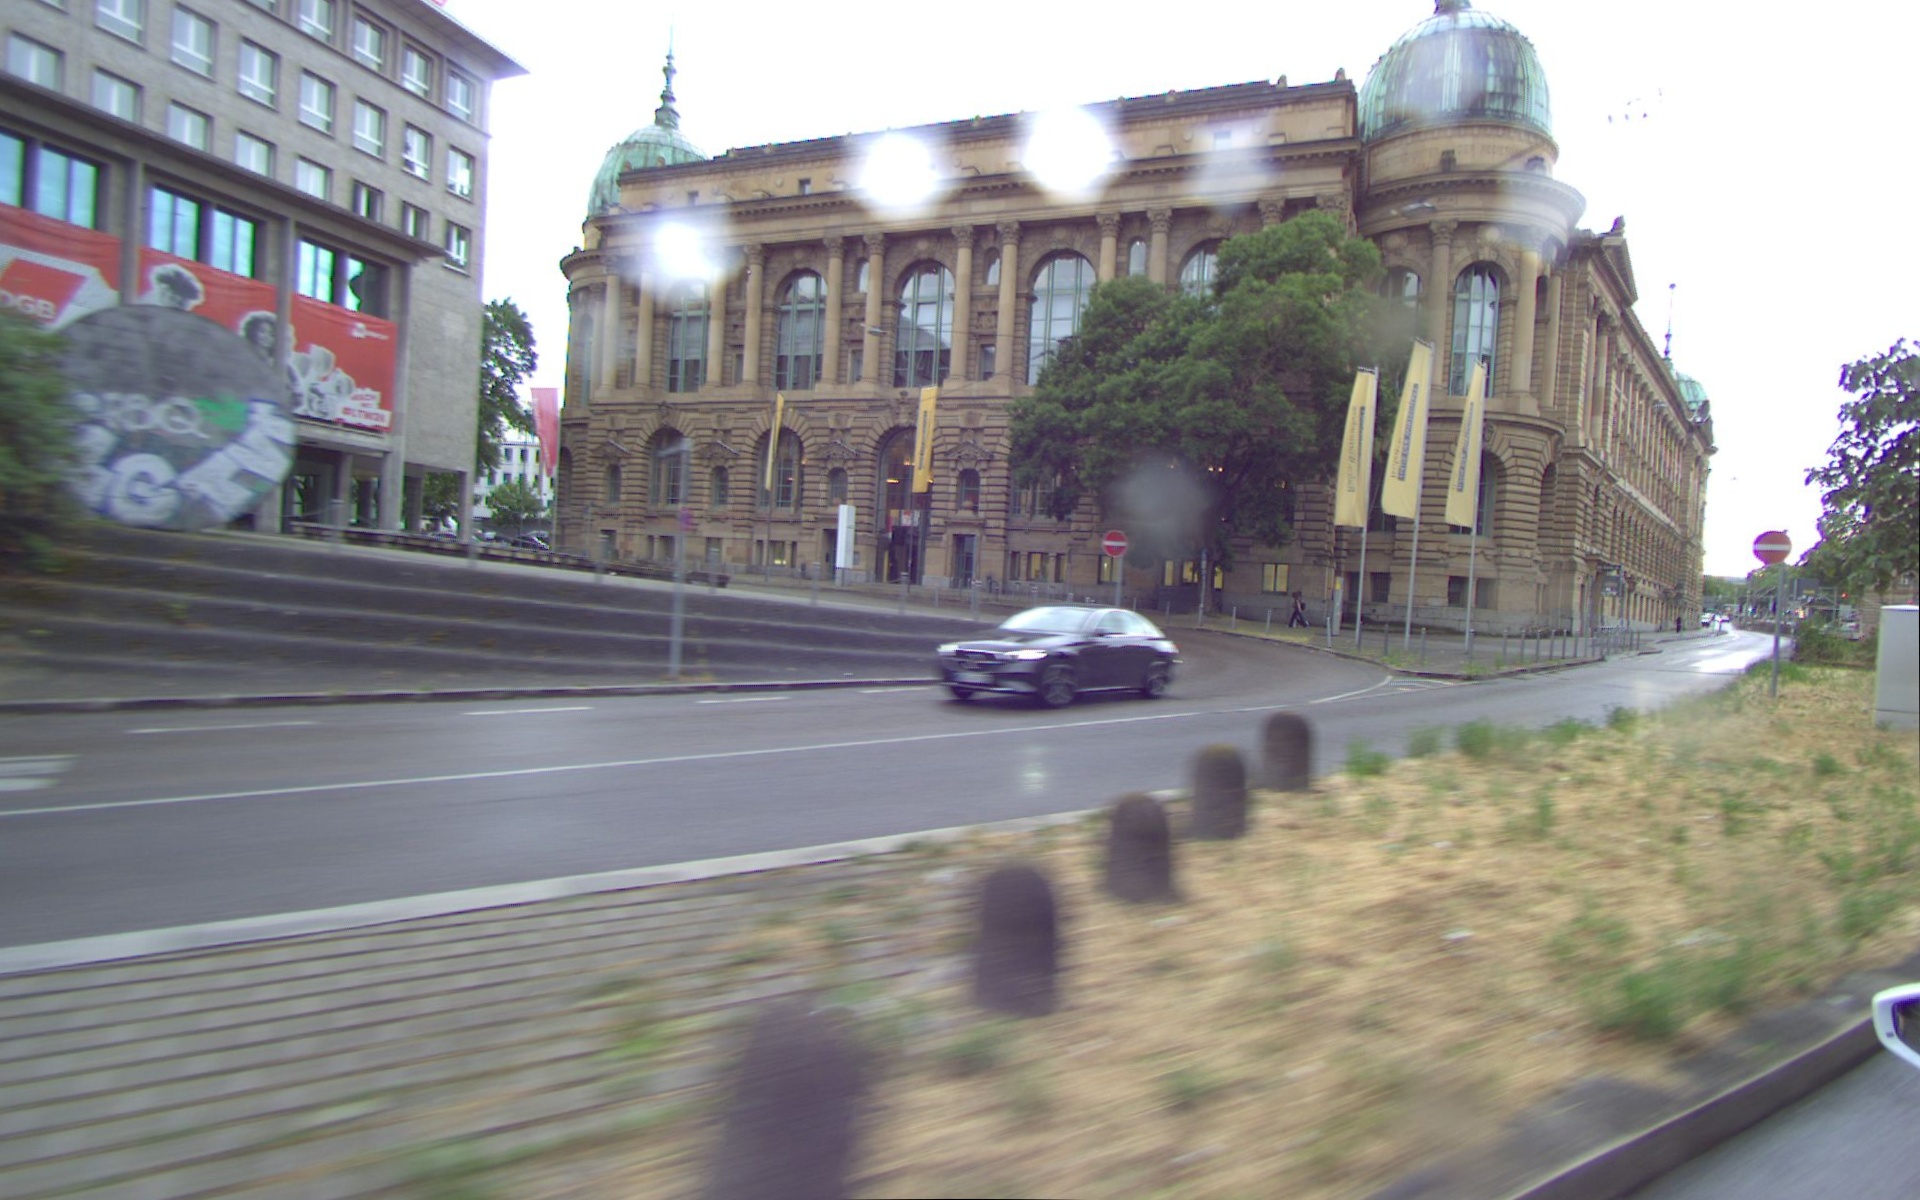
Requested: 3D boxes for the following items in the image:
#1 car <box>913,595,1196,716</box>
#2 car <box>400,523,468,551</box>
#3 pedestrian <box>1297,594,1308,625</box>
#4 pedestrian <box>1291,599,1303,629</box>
[{"bbox_3d":[1.626,0.781,15.464,1.969,1.513,4.821,2,0,39],"label":"car"},{"bbox_3d":[-57.932,-6.927,110.790,6.170,2.595,2.314,3,1,-1],"label":"car"},{"bbox_3d":[15.319,0.419,44.959,0.379,1.363,0.441,3,1,23],"label":"pedestrian"},{"bbox_3d":[15.413,0.644,45.915,0.433,1.363,0.644,3,1,23],"label":"pedestrian"}]
